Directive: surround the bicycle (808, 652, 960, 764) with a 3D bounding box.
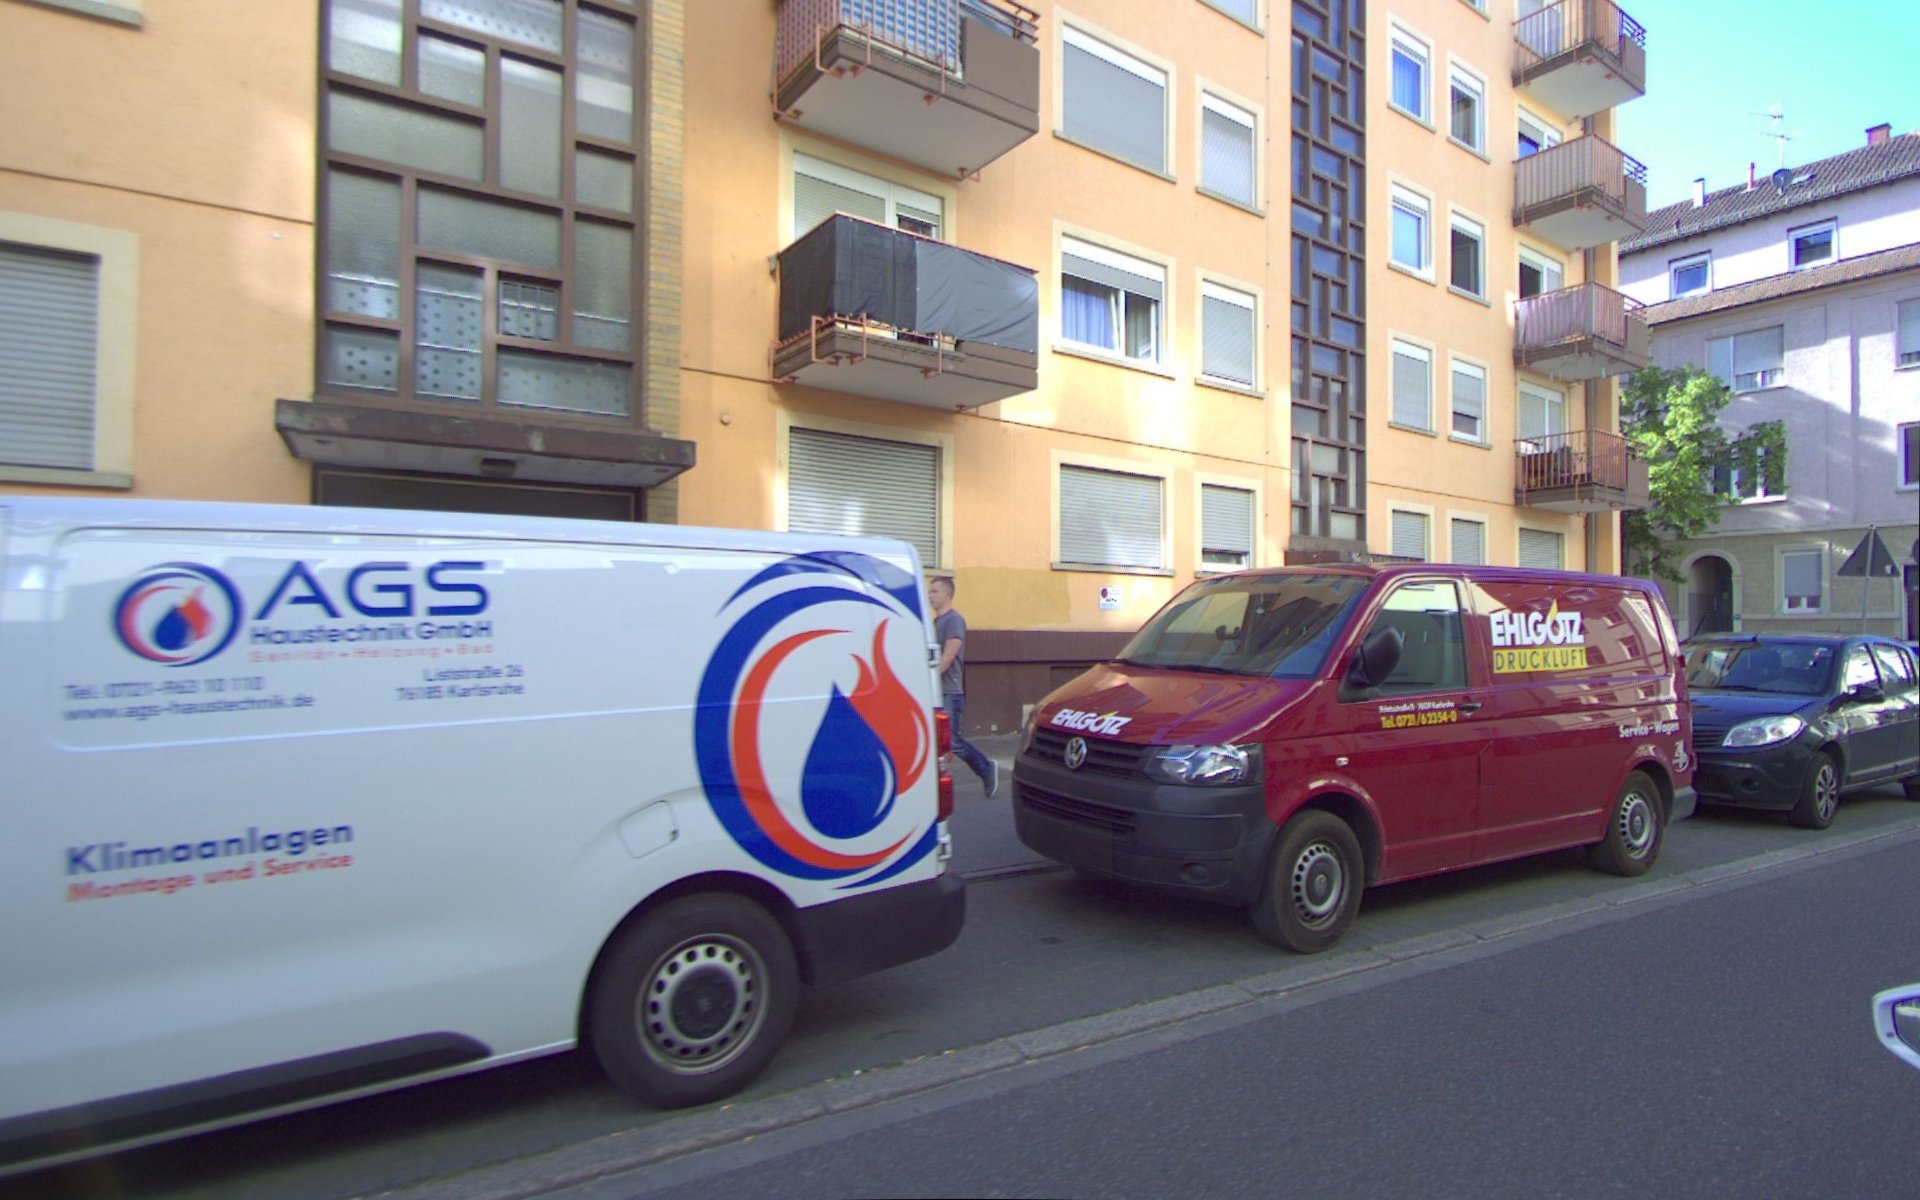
[{"bbox_3d":[-0.802,1.144,10.991,1.746,1.128,0.339,1,-2,-36],"label":"bicycle"}]

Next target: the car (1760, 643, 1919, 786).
[{"bbox_3d":[11.331,1.216,11.614,4.425,1.395,1.755,1,-2,-30],"label":"car"}]

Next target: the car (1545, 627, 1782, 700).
[{"bbox_3d":[16.972,1.496,24.449,1.711,1.613,4.403,1,-2,-37],"label":"car"}]

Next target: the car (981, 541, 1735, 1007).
[{"bbox_3d":[2.645,0.783,6.229,4.878,1.950,1.754,1,-2,-31],"label":"car"}]

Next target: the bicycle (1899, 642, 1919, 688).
[{"bbox_3d":[24.924,1.647,25.201,0.519,1.150,1.891,-1,-1,-28],"label":"bicycle"}]

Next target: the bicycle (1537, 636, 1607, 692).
[{"bbox_3d":[12.575,1.297,20.632,1.873,1.078,0.500,1,0,-35],"label":"bicycle"}]

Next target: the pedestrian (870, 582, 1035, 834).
[{"bbox_3d":[-0.065,0.808,8.014,0.984,1.841,0.918,1,-2,-34],"label":"pedestrian"}]

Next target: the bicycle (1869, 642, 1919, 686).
[{"bbox_3d":[25.400,1.692,26.599,0.520,1.150,1.888,-1,-1,-32],"label":"bicycle"}]

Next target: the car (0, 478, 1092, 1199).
[{"bbox_3d":[-2.228,0.730,3.395,5.248,1.950,1.966,1,-2,-31],"label":"car"}]

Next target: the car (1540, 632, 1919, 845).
[{"bbox_3d":[7.189,1.068,9.012,3.955,1.522,1.754,1,-3,-32],"label":"car"}]

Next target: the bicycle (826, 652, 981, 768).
[{"bbox_3d":[-0.573,1.135,10.683,1.746,1.128,0.339,1,-2,-36],"label":"bicycle"}]
